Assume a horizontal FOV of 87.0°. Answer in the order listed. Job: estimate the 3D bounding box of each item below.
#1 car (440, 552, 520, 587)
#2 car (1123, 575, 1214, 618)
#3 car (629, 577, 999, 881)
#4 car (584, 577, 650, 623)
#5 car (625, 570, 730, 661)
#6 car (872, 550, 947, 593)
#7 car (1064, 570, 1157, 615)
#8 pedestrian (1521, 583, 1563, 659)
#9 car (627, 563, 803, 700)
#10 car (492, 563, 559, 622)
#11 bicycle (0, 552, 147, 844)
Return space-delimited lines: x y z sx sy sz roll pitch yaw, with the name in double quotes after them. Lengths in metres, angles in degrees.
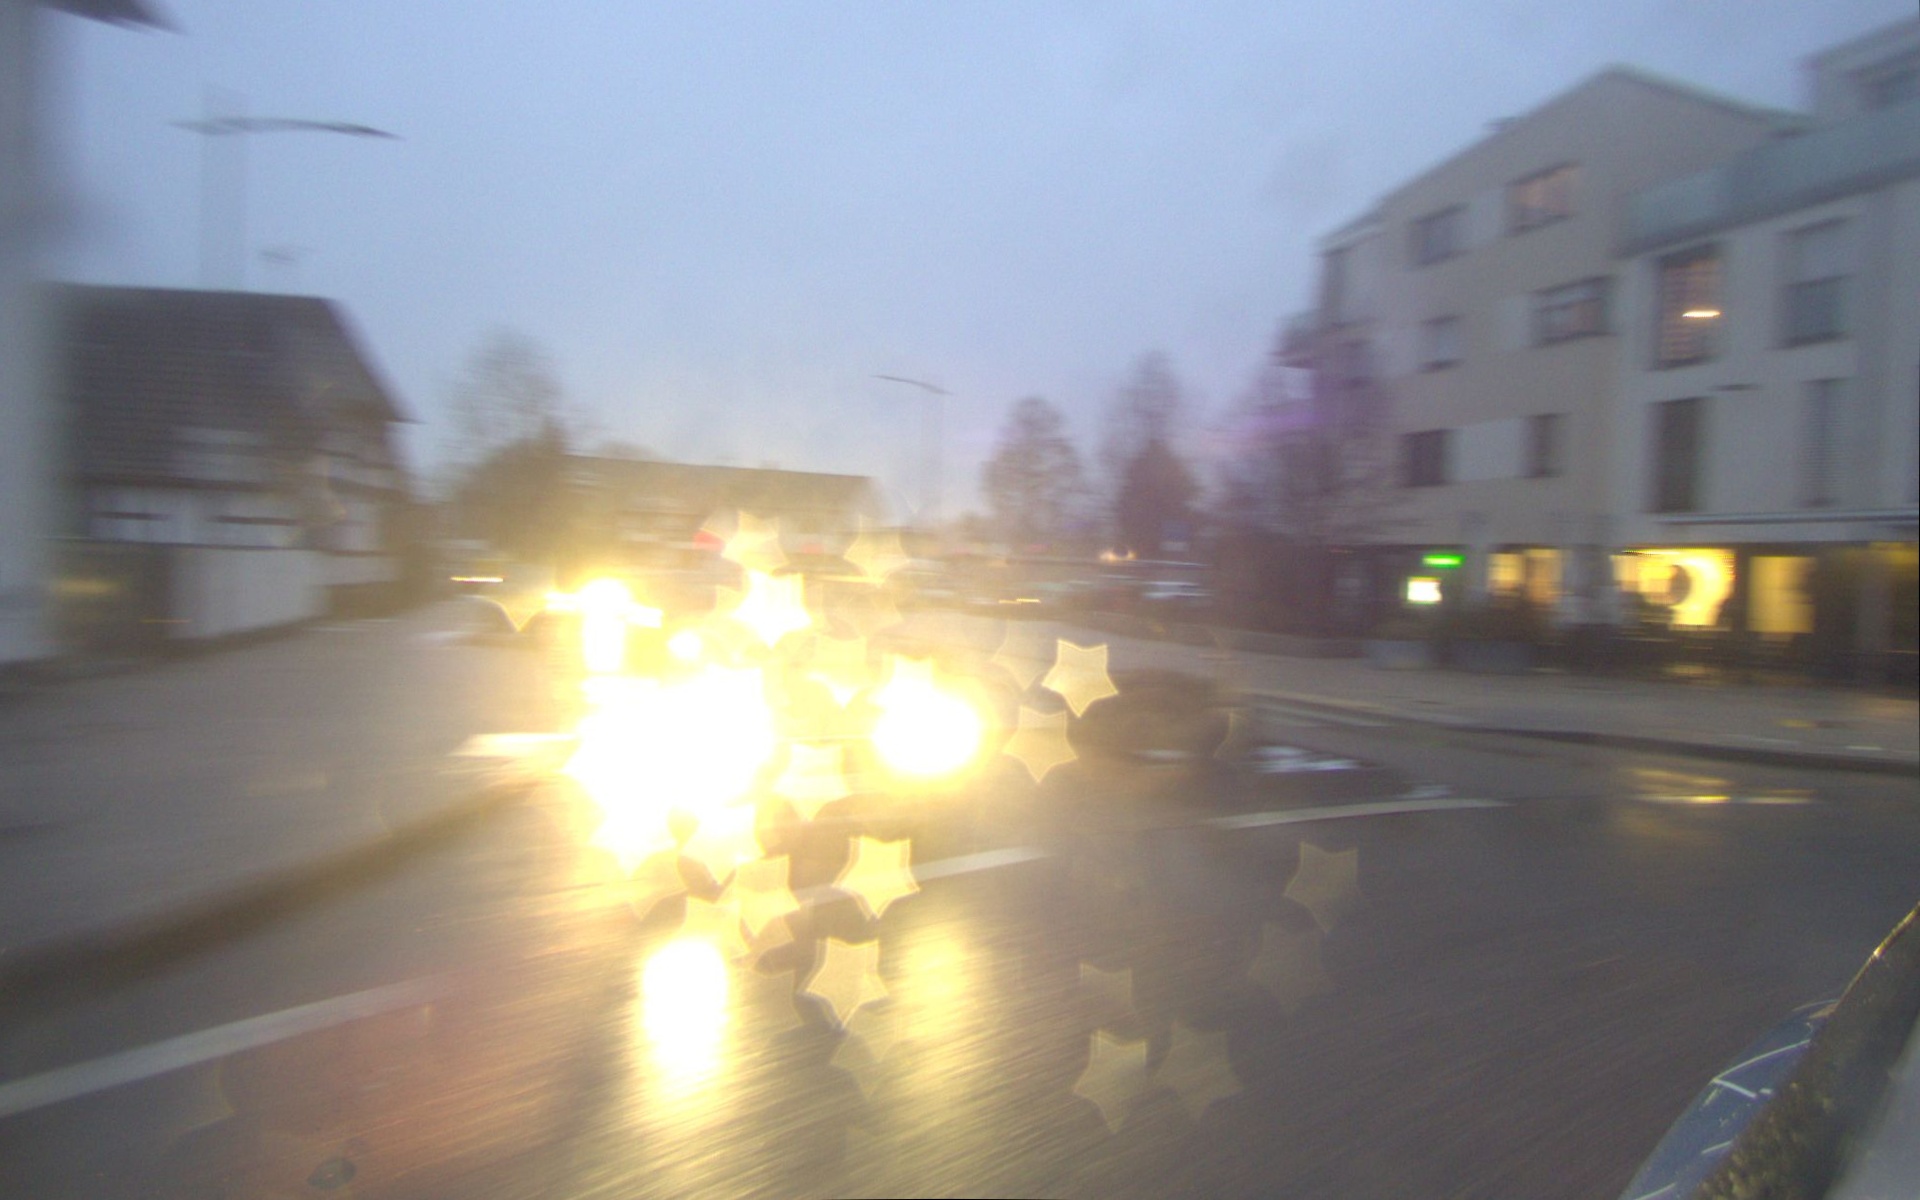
-31.440 -2.035 66.255 4.846 2.037 1.986 2 6 24 "car"
7.900 -0.160 38.646 1.489 1.492 3.450 2 1 -28 "car"
-1.185 0.559 7.067 1.812 1.401 4.244 -1 2 -14 "car"
-12.444 -0.045 36.534 1.843 1.471 4.008 2 1 -24 "car"
-5.546 0.208 19.553 1.661 1.526 4.268 1 2 -19 "car"
-2.602 -1.430 50.843 2.168 2.039 4.869 1 1 -23 "car"
5.518 -0.304 37.538 1.680 1.535 3.775 1 1 -23 "car"
11.513 0.411 20.018 0.542 1.472 0.452 2 1 -30 "pedestrian"
-3.469 0.298 13.800 1.661 1.571 4.008 0 2 -24 "car"
-12.425 -0.264 28.963 1.630 1.547 4.009 1 2 -24 "car"
-4.663 0.446 4.342 0.542 1.311 1.938 4 1 8 "bicycle"
